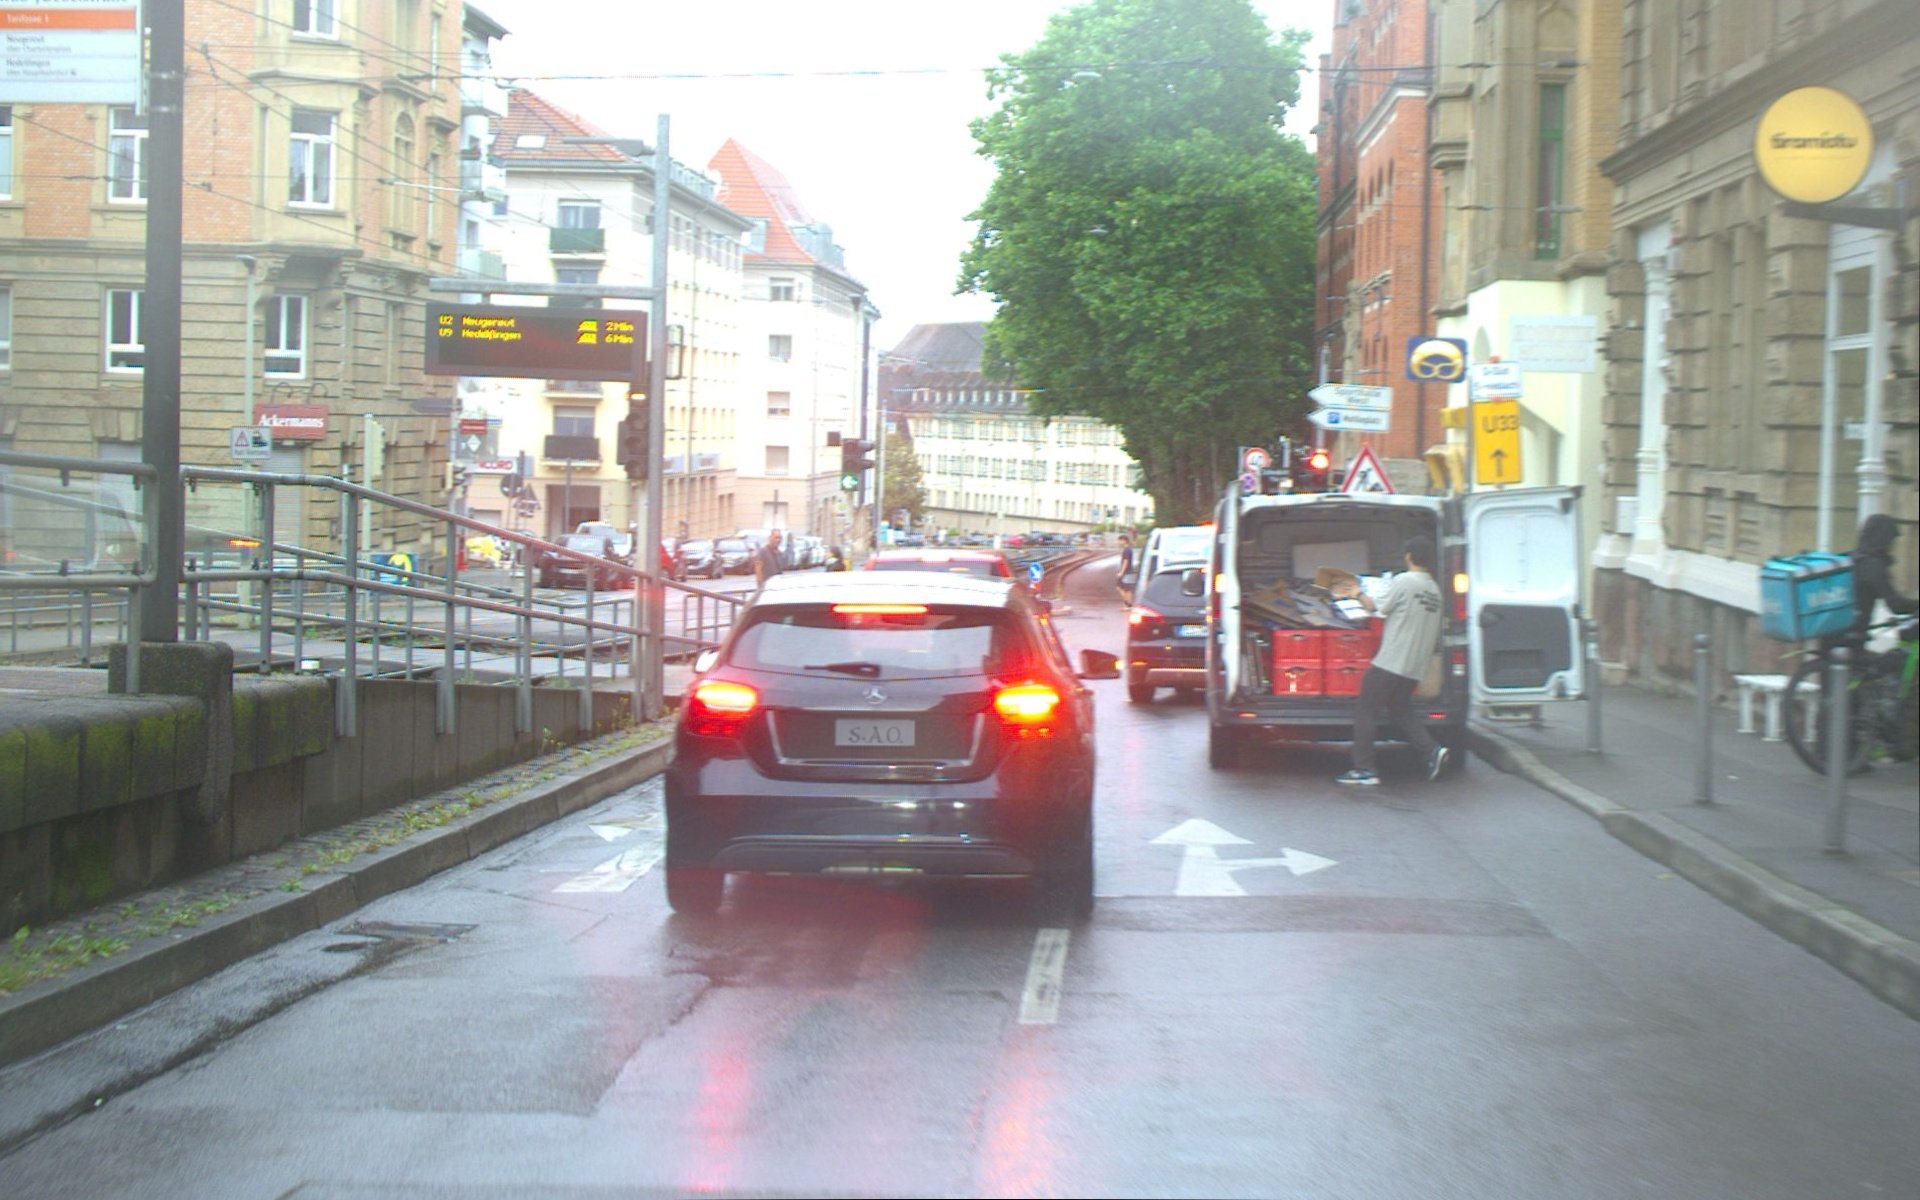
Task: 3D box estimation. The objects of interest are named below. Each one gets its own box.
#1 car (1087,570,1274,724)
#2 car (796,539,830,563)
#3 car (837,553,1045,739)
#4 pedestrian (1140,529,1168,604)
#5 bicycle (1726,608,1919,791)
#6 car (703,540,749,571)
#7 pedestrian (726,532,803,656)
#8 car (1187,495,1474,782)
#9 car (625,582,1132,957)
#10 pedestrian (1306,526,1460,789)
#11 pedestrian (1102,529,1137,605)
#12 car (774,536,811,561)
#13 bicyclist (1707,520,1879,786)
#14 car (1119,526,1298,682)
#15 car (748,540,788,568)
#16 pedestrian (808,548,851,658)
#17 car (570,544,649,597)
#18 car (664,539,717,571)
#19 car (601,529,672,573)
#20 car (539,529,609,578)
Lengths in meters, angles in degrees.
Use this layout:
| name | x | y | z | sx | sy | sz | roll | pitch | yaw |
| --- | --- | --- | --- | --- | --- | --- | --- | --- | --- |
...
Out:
| name | x | y | z | sx | sy | sz | roll | pitch | yaw |
| --- | --- | --- | --- | --- | --- | --- | --- | --- | --- |
| car | 2.387 | 0.444 | 36.365 | 1.714 | 1.464 | 4.280 | 2 | 1 | 7 |
| car | -7.519 | -2.519 | 175.860 | 1.395 | 1.167 | 3.161 | 2 | 1 | 3 |
| car | -0.119 | 0.350 | 29.929 | 1.680 | 1.484 | 3.613 | 1 | 1 | 1 |
| pedestrian | 4.340 | -0.747 | 76.807 | 0.518 | 1.660 | 0.476 | 3 | 1 | 6 |
| bicycle | 5.629 | 0.606 | 21.408 | 1.683 | 1.111 | 0.465 | 0 | 0 | -20 |
| car | -9.294 | -1.784 | 136.632 | 1.395 | 1.167 | 3.161 | 2 | 1 | 3 |
| pedestrian | -2.748 | -0.088 | 48.306 | 0.739 | 1.718 | 0.741 | 1 | 1 | -40 |
| car | 2.718 | 0.235 | 26.057 | 1.921 | 1.929 | 4.685 | 2 | 1 | 4 |
| car | -0.225 | 0.650 | 15.465 | 1.895 | 1.385 | 4.000 | 1 | 1 | 4 |
| pedestrian | 2.860 | 0.376 | 23.296 | 0.684 | 1.748 | 0.836 | 0 | 1 | -25 |
| pedestrian | 3.523 | -0.735 | 76.068 | 0.679 | 1.655 | 0.676 | 1 | 1 | 10 |
| car | -7.971 | -2.440 | 163.302 | 1.395 | 1.167 | 3.161 | 2 | 1 | 3 |
| bicyclist | 5.277 | 0.326 | 21.791 | 0.847 | 1.651 | 0.632 | 0 | 0 | -19 |
| car | 3.085 | 0.007 | 43.433 | 1.933 | 1.825 | 4.281 | 2 | 1 | 0 |
| car | -8.601 | -2.059 | 154.089 | 1.395 | 1.167 | 3.161 | 2 | 1 | 3 |
| pedestrian | -1.824 | 0.038 | 48.011 | 0.531 | 1.525 | 0.436 | 2 | 1 | -5 |
| car | -10.614 | -0.909 | 104.406 | 1.786 | 1.525 | 4.462 | 2 | 1 | 1 |
| car | -9.625 | -1.616 | 123.088 | 1.437 | 1.103 | 3.161 | 2 | 1 | 3 |
| car | -10.378 | -1.578 | 110.542 | 1.680 | 1.351 | 3.703 | 2 | 1 | 3 |
| car | -10.942 | -1.328 | 97.502 | 1.452 | 1.314 | 3.295 | 3 | 1 | 2 |
